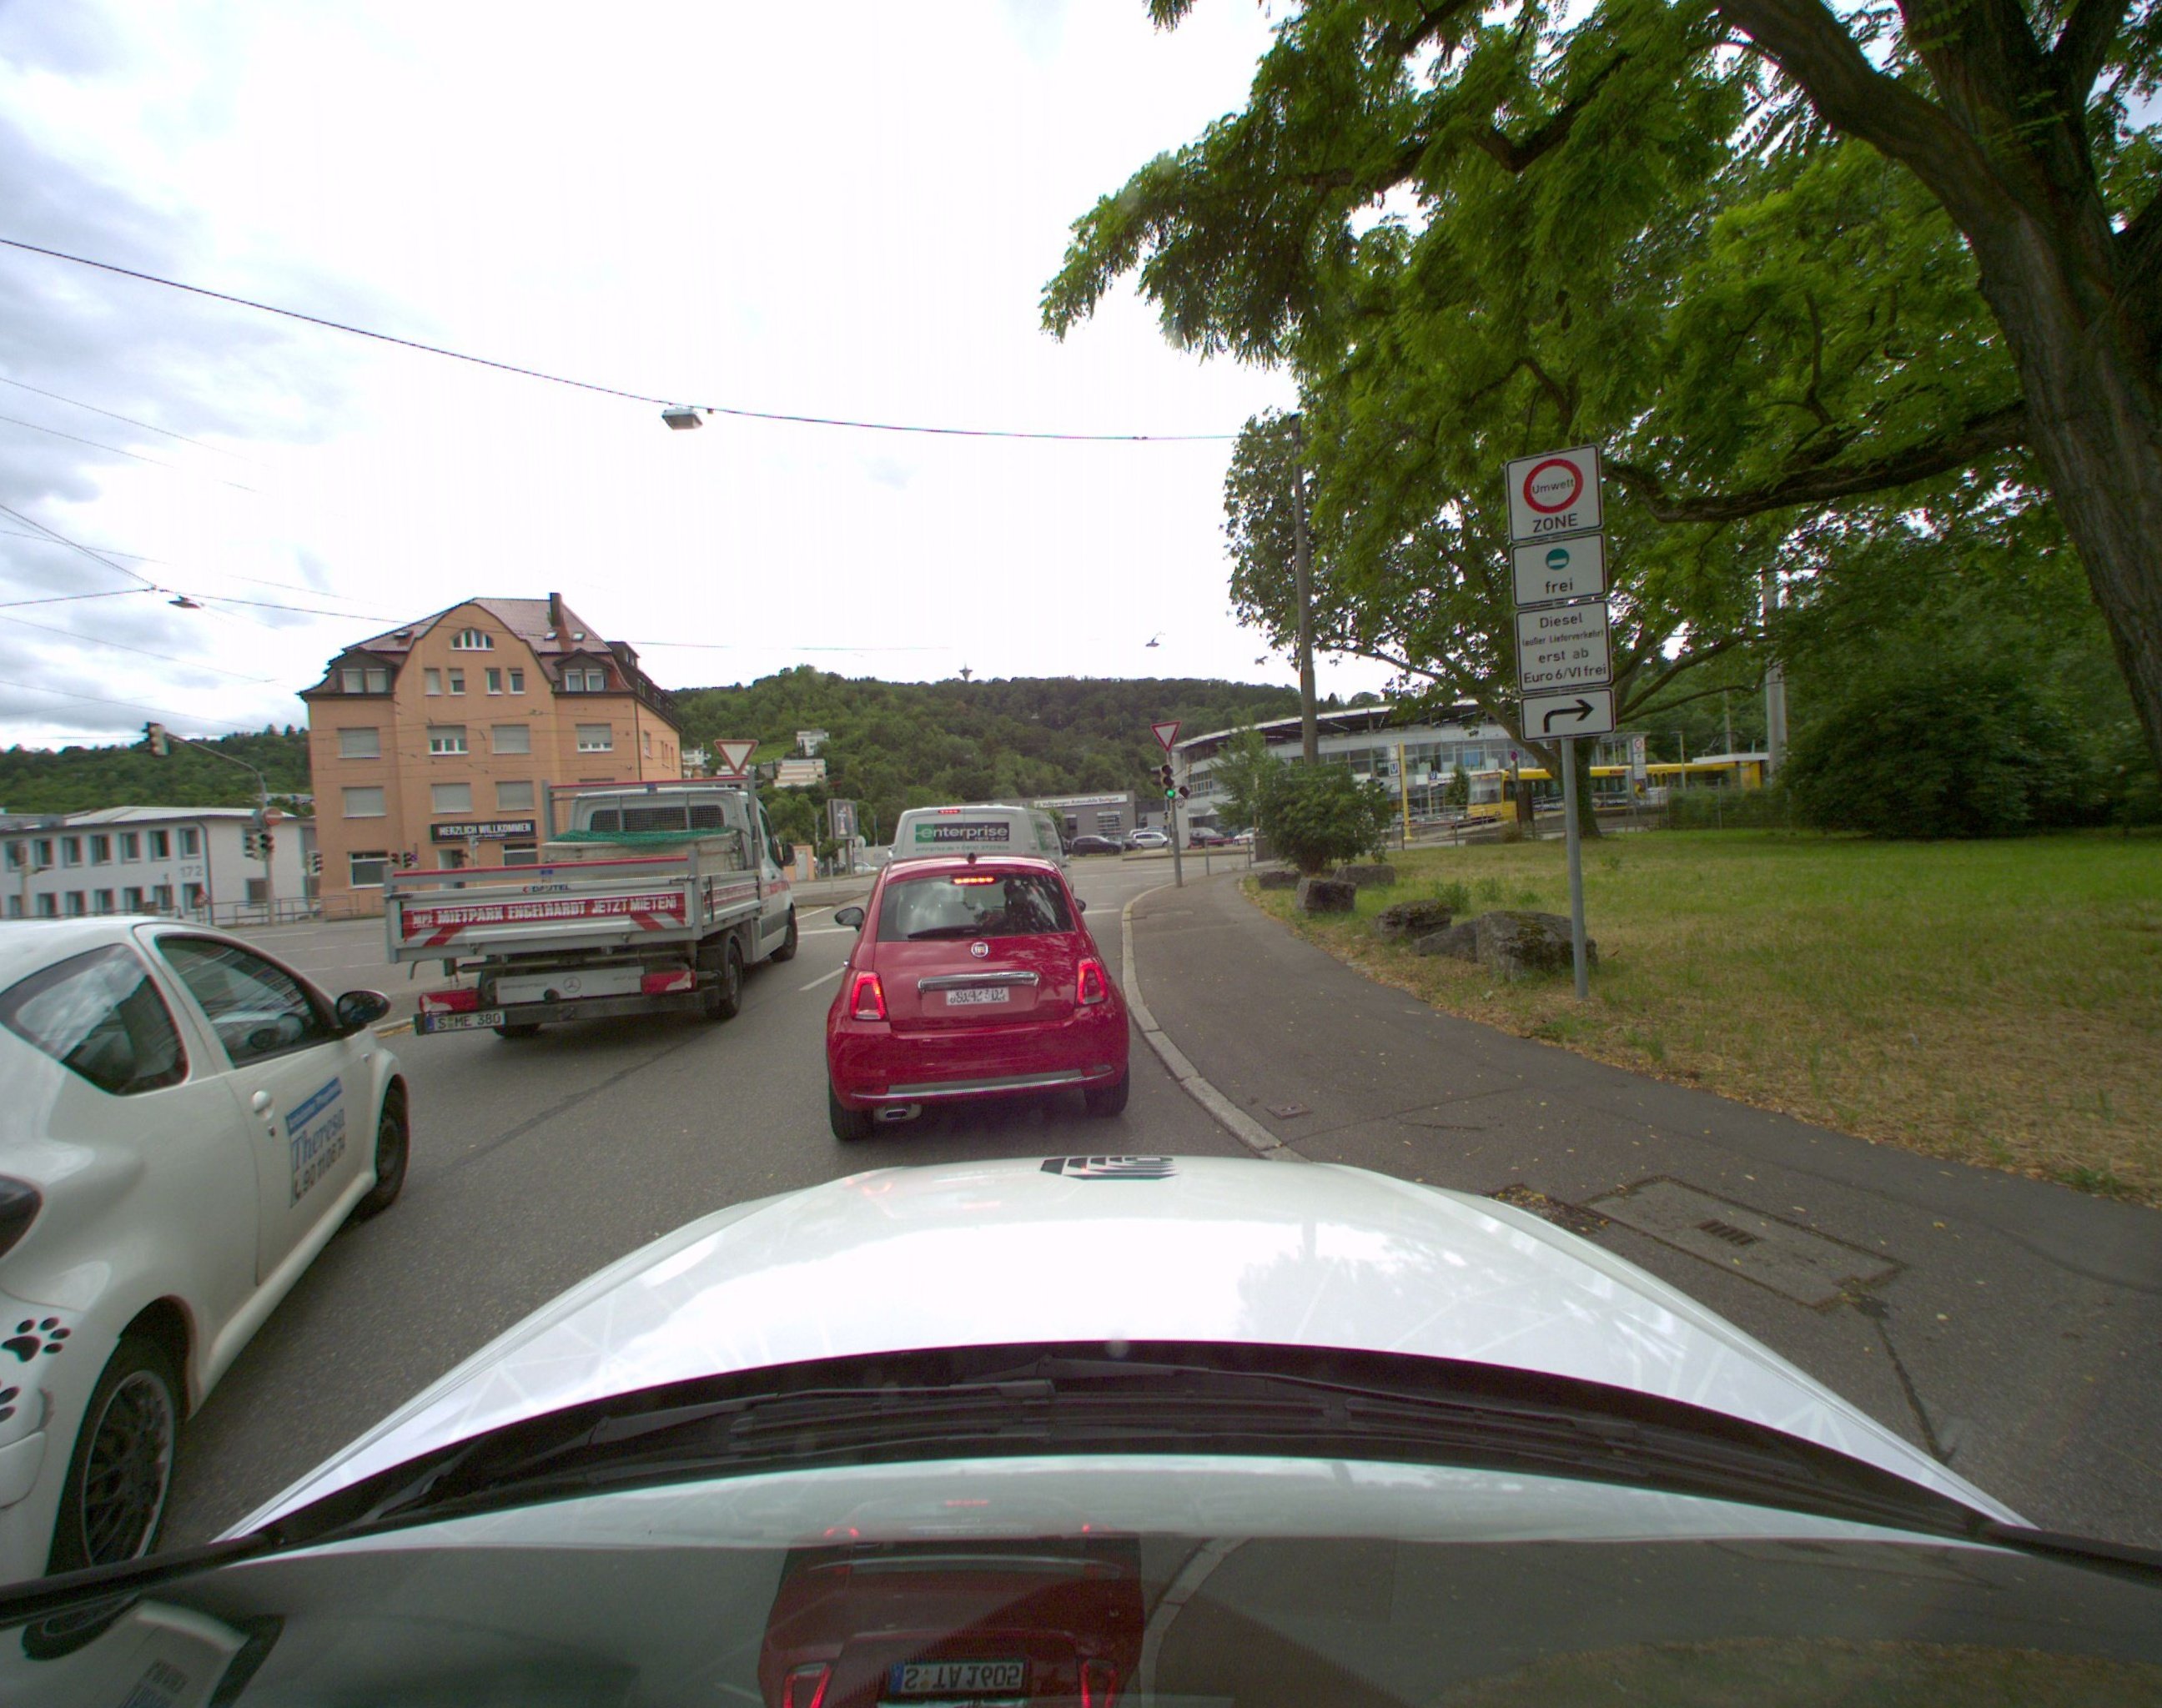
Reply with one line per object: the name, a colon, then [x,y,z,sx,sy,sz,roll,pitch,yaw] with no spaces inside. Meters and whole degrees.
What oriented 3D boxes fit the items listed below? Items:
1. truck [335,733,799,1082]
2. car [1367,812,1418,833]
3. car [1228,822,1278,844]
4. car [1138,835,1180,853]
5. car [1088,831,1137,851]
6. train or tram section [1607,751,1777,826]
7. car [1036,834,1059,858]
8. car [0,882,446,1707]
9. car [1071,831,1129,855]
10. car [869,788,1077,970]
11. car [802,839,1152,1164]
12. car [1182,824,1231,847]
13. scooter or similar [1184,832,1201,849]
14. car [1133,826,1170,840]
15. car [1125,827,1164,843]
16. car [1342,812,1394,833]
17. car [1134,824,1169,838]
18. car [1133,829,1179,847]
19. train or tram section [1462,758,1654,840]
truck: [-4.677,0.283,8.785,2.316,2.421,5.630,-4,2,-13]
car: [27.447,-2.751,71.875,1.931,1.554,3.967,-5,1,-25]
car: [14.091,-1.717,66.977,2.003,1.640,3.967,0,-1,-25]
car: [8.642,-1.116,90.445,4.479,1.997,2.000,0,-1,1]
car: [2.688,-1.095,70.227,3.984,1.706,1.995,0,-1,-8]
train or tram section: [38.898,-4.193,51.705,11.921,3.966,2.730,-5,1,-22]
car: [-3.194,-0.740,79.441,1.988,2.013,5.014,-4,-1,-1]
car: [-3.257,0.842,2.484,1.603,1.420,3.341,0,-1,-30]
car: [1.432,-0.843,61.552,3.957,1.639,2.009,-1,4,15]
car: [-1.233,0.194,11.587,1.990,2.040,4.837,0,2,4]
car: [-0.805,0.664,5.954,1.697,1.525,3.987,0,1,-10]
car: [10.010,-1.470,65.168,2.004,1.640,3.966,-3,1,-25]
scooter or similar: [8.532,-1.026,62.218,1.198,1.288,0.575,0,-1,-3]
car: [8.694,-2.598,100.705,4.480,1.729,2.000,0,-1,0]
car: [7.520,-2.257,96.385,4.480,1.729,2.000,0,-1,0]
car: [24.929,-2.719,70.855,1.931,1.554,3.967,-5,1,-25]
car: [9.148,-2.926,105.873,4.480,1.729,2.000,0,-1,0]
car: [7.510,-1.564,81.352,4.474,1.729,2.003,0,-1,5]
train or tram section: [27.813,-3.242,47.291,11.921,3.966,2.730,-5,1,-22]
